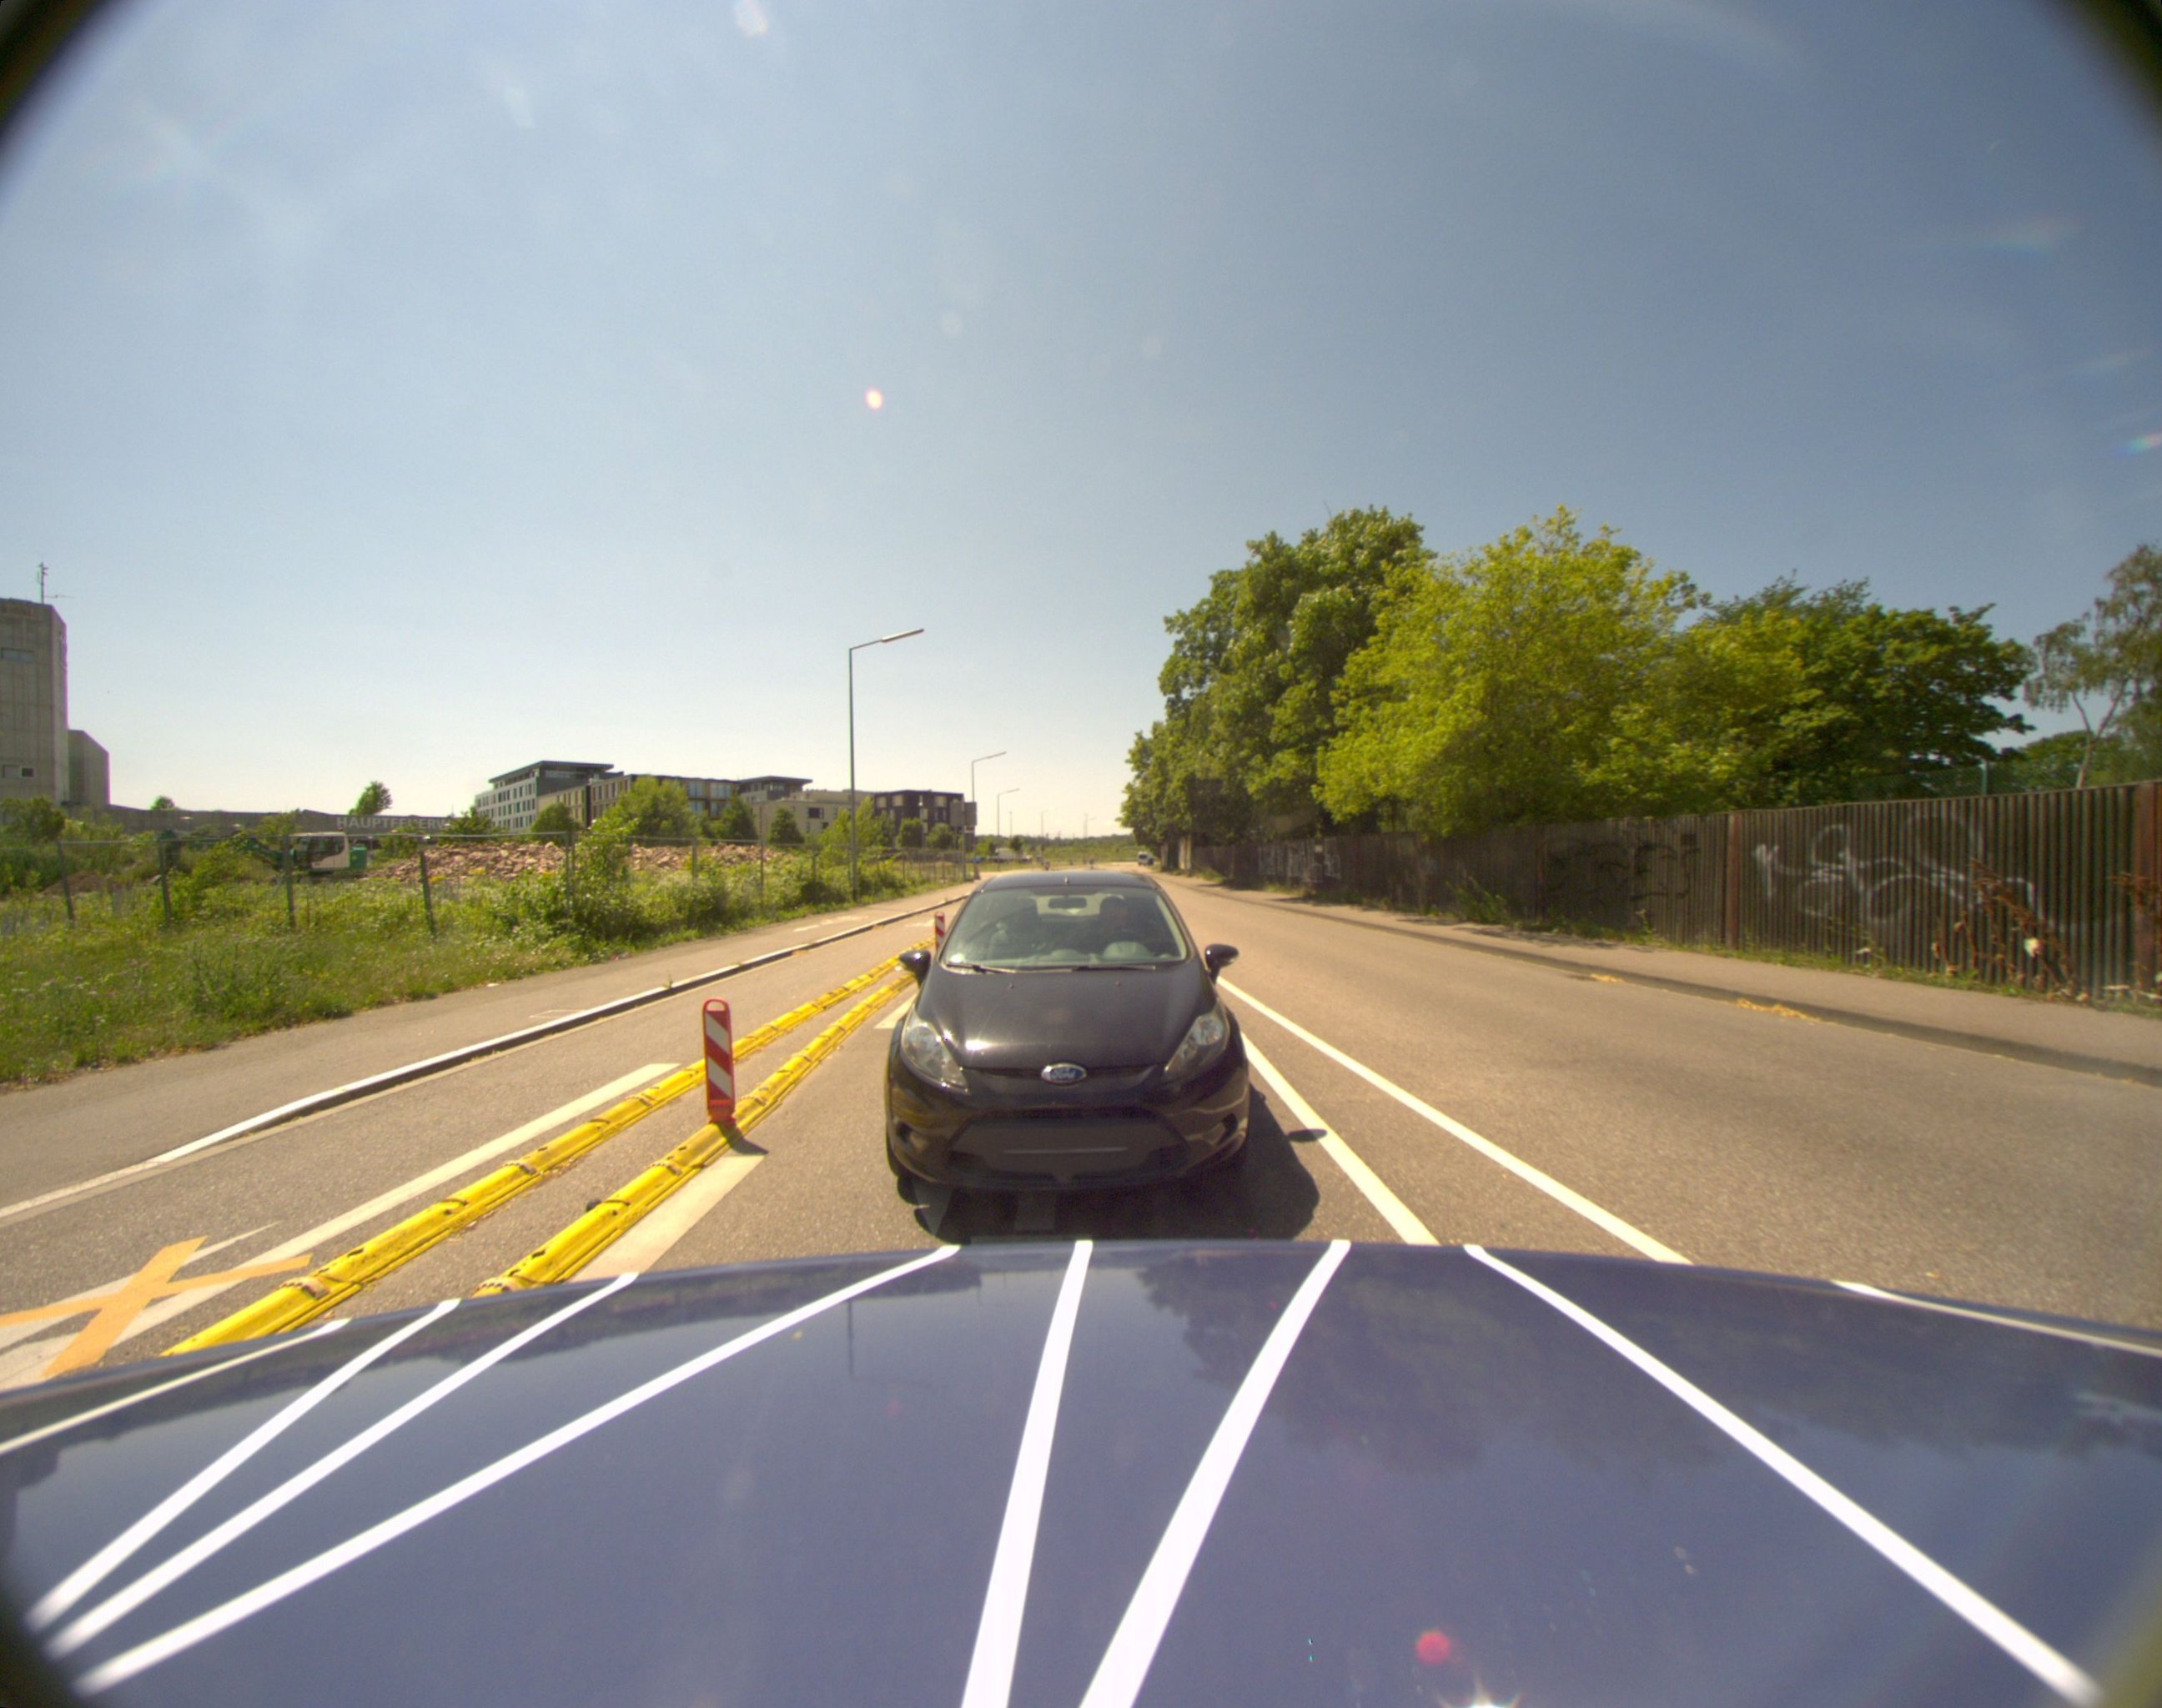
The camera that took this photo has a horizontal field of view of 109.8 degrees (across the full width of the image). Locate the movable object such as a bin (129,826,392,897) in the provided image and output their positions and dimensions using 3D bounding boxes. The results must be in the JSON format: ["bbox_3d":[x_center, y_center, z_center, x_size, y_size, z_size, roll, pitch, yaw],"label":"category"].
[{"bbox_3d":[-38.327,0.262,36.024,3.231,2.899,7.702,-2,1,15],"label":"movable object such as a bin"}]

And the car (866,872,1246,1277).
[{"bbox_3d":[-0.076,0.973,5.176,1.528,1.510,3.999,-2,1,1],"label":"car"}]
